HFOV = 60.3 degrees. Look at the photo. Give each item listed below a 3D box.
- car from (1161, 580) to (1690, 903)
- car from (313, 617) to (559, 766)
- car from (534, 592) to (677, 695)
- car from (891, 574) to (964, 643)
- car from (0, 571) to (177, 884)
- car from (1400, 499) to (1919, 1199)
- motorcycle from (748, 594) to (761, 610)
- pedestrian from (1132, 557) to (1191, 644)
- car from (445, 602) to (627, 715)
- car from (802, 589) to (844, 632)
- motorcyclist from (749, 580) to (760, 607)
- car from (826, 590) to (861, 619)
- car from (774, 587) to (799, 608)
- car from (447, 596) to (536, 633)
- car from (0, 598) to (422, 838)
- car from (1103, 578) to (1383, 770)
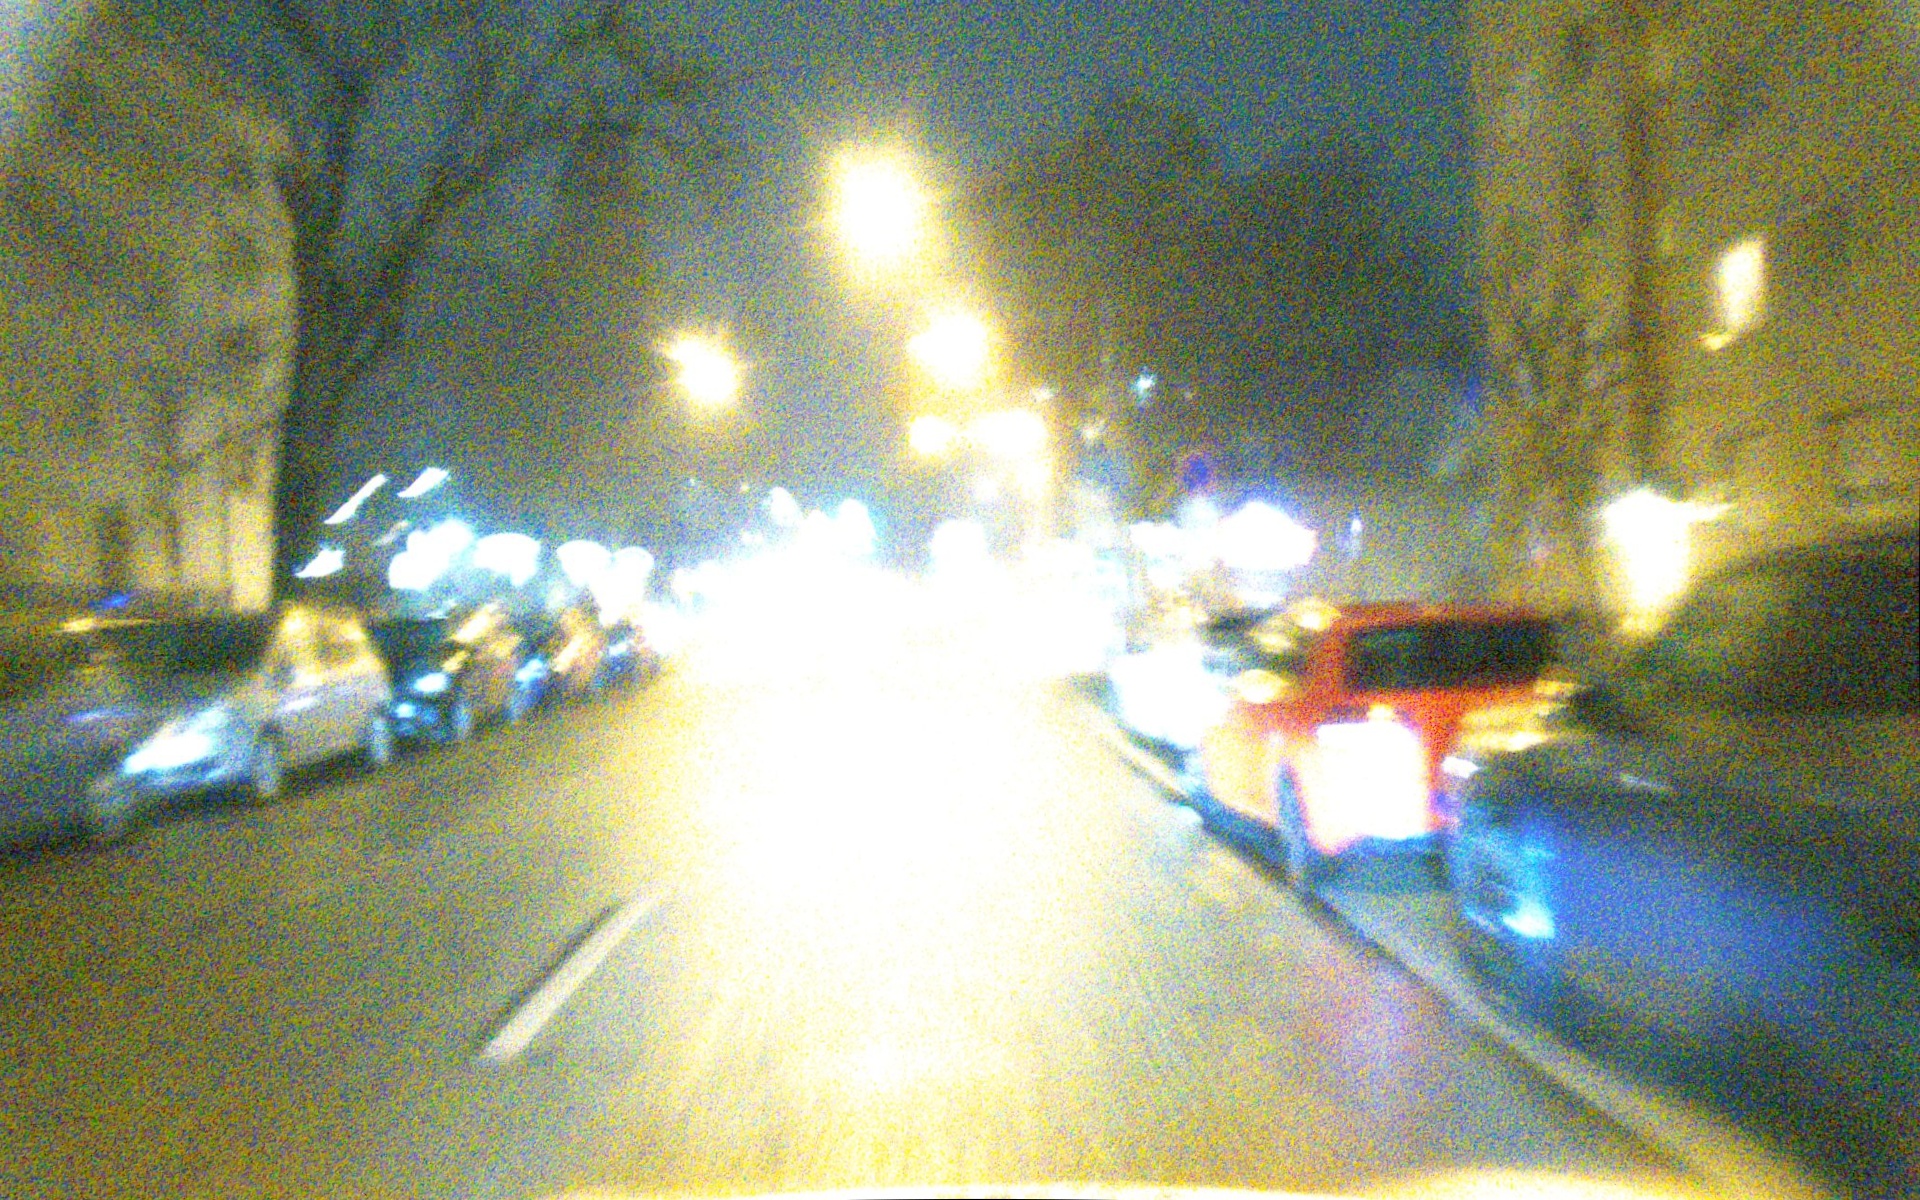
[{"bbox_3d":[2.491,0.657,10.097,1.786,1.446,4.486,-3,0,-2],"label":"car"},{"bbox_3d":[-6.031,0.988,19.511,1.566,1.397,4.066,-4,0,-1],"label":"car"},{"bbox_3d":[-6.248,0.705,29.580,1.566,1.591,4.379,-4,0,-1],"label":"car"},{"bbox_3d":[-1.038,0.236,52.579,2.124,2.006,4.300,-3,0,-2],"label":"car"},{"bbox_3d":[-5.833,0.724,8.469,1.566,1.633,4.257,-4,0,-1],"label":"car"},{"bbox_3d":[2.803,0.584,4.571,1.786,1.666,4.486,-3,0,-2],"label":"car"},{"bbox_3d":[-16.047,0.135,129.331,0.687,1.158,2.175,-2,1,0],"label":"motorcycle"},{"bbox_3d":[3.783,0.009,31.153,1.028,1.603,1.019,-1,0,3],"label":"pedestrian"},{"bbox_3d":[-6.240,0.804,24.810,1.566,1.397,4.353,-4,0,-1],"label":"car"},{"bbox_3d":[-7.095,0.497,85.665,1.995,1.987,5.195,-4,1,-5],"label":"car"},{"bbox_3d":[-16.055,-0.533,129.231,0.679,2.049,0.982,-2,1,0],"label":"motorcyclist"},{"bbox_3d":[-6.803,0.248,96.377,1.783,1.569,4.718,-2,0,-7],"label":"car"},{"bbox_3d":[-13.924,-0.193,132.459,1.817,1.525,4.762,-2,1,-8],"label":"car"},{"bbox_3d":[-19.571,0.588,69.277,1.677,1.456,3.921,-1,0,18],"label":"car"},{"bbox_3d":[-5.901,0.807,13.516,1.566,1.512,4.274,-4,0,-1],"label":"car"},{"bbox_3d":[2.636,0.621,16.562,1.786,1.557,4.781,-3,0,-2],"label":"car"}]
